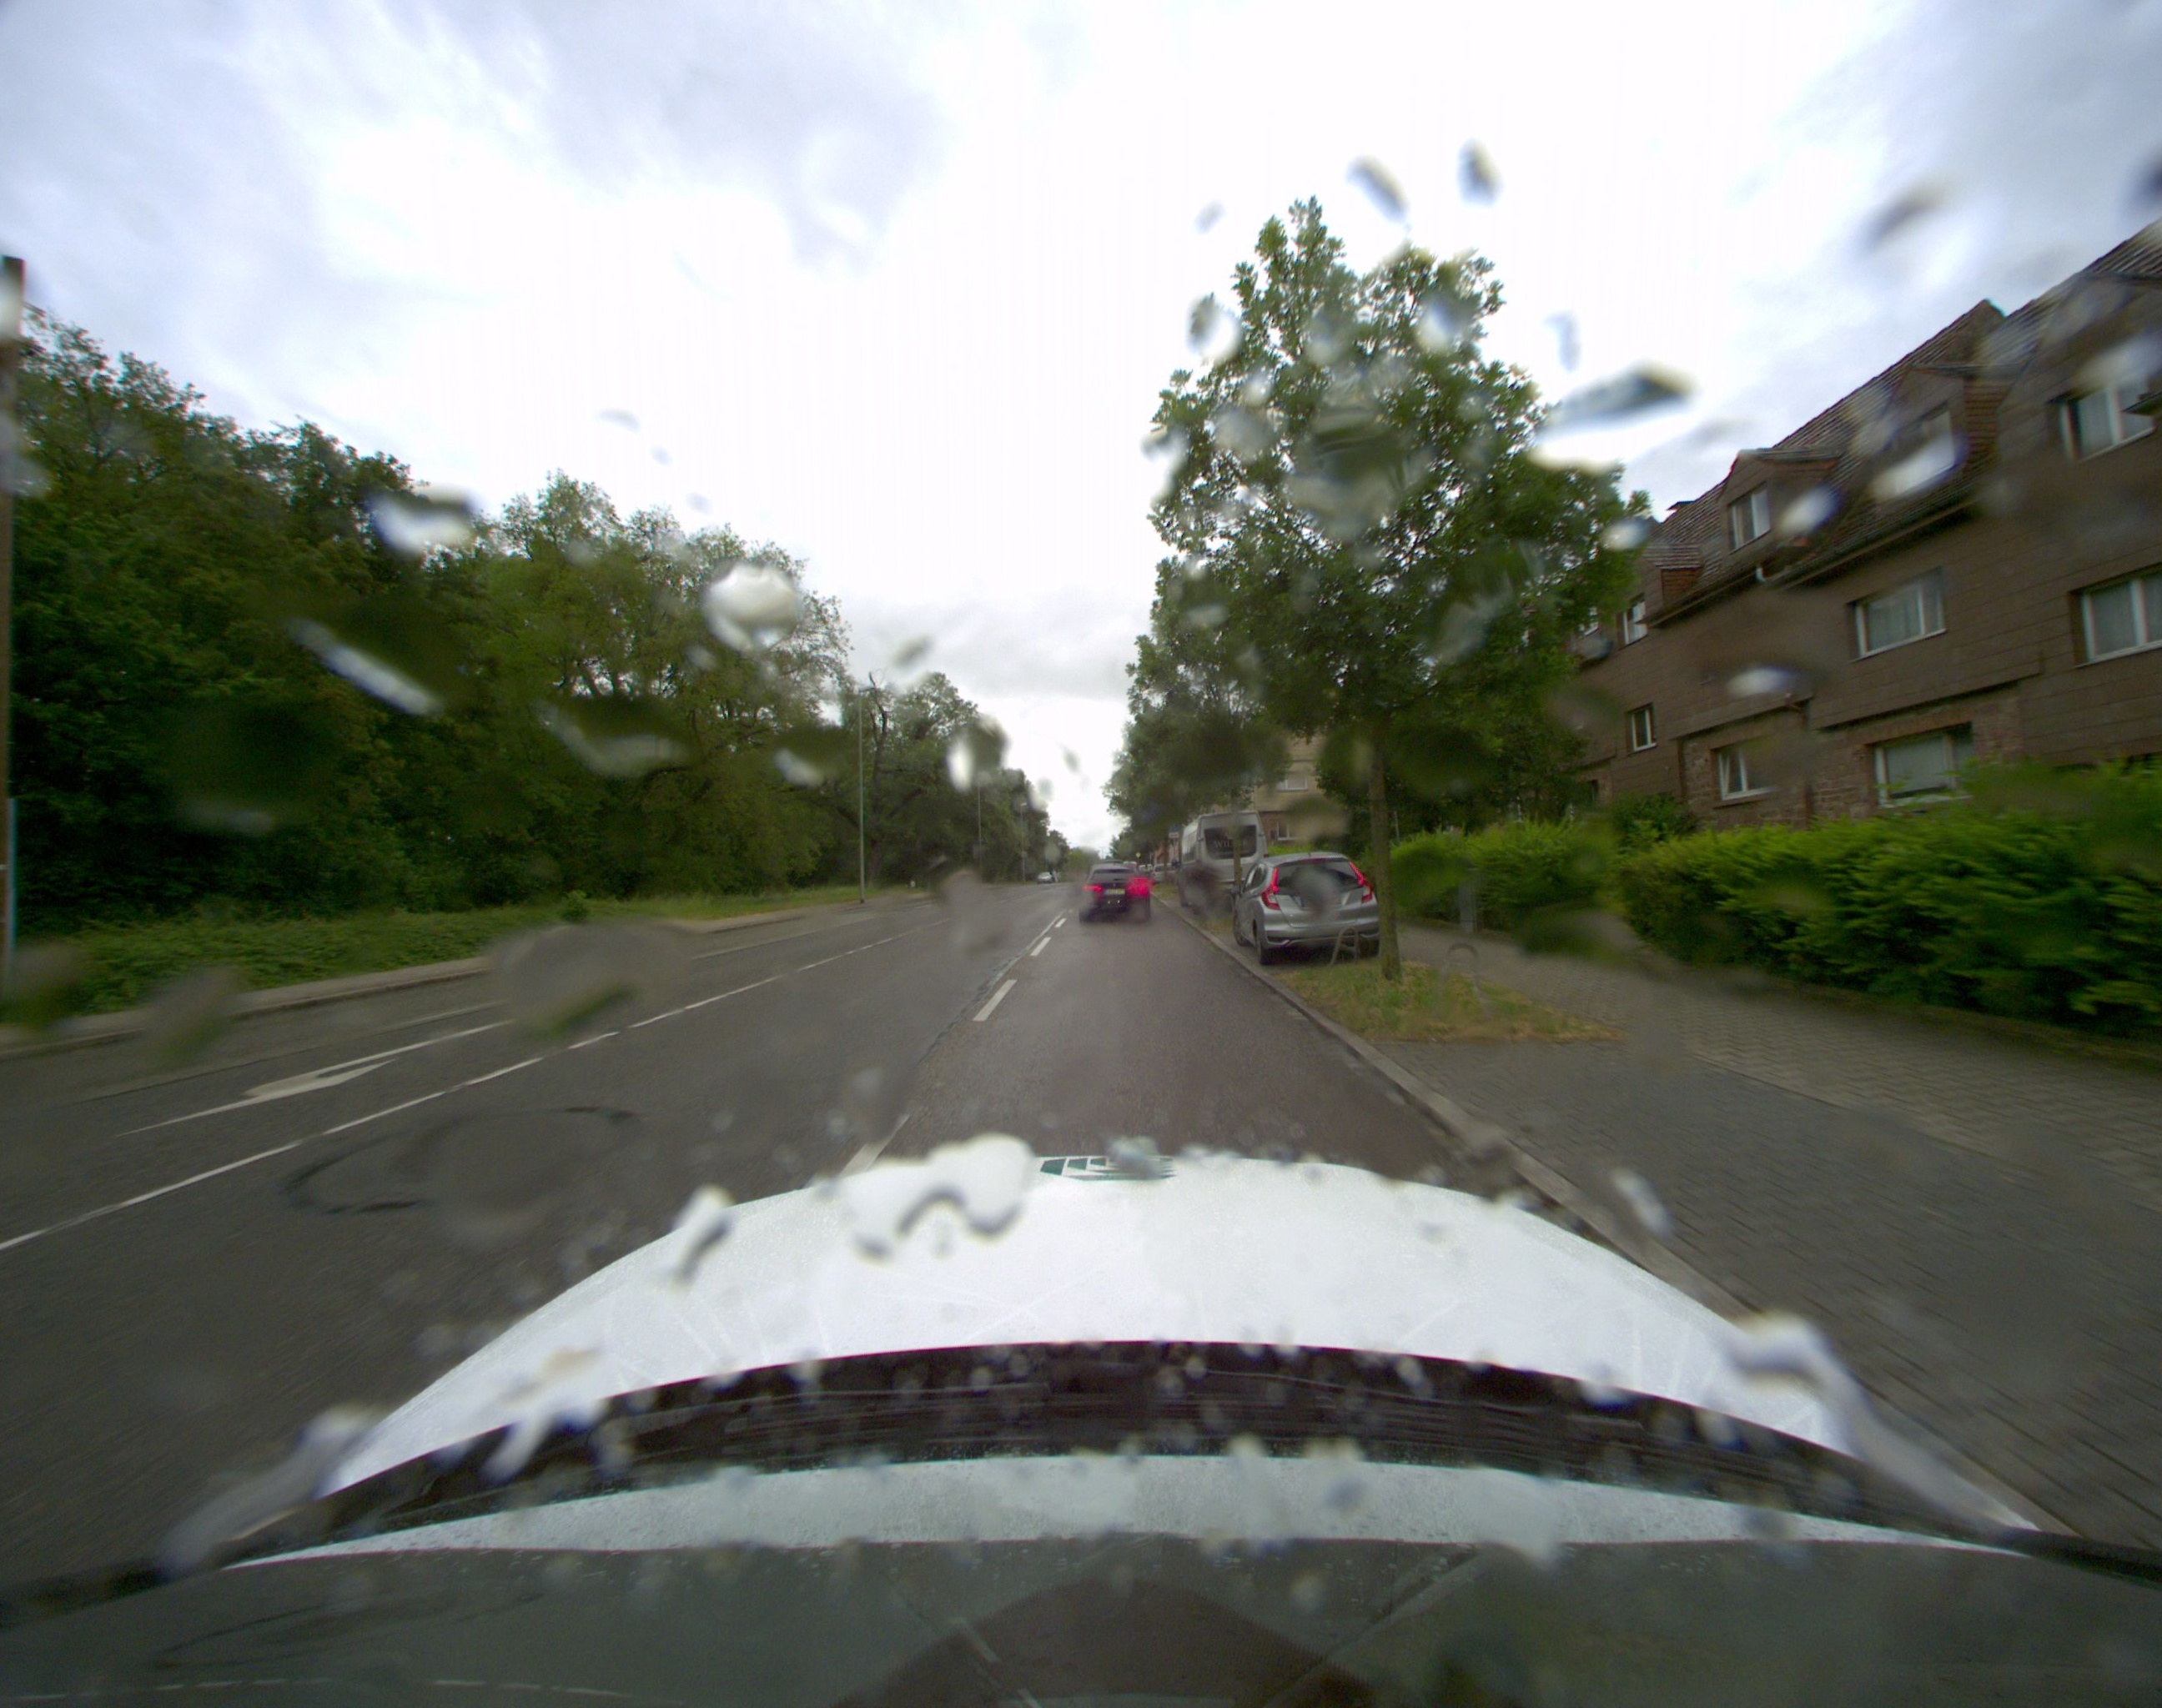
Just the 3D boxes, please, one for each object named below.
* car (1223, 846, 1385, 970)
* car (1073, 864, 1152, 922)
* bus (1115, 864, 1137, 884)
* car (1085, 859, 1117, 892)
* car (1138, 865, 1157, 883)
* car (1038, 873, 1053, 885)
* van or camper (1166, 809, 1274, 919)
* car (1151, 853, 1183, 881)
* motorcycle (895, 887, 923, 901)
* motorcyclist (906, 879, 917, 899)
[{"bbox_3d":[3.298,0.751,12.779,1.661,1.528,3.836,-5,-1,5],"label":"car"},{"bbox_3d":[0.864,1.033,22.714,1.986,1.453,4.001,1,-1,2],"label":"car"},{"bbox_3d":[7.074,3.042,126.330,2.608,2.848,8.306,-3,-1,8],"label":"bus"},{"bbox_3d":[1.336,1.387,52.875,1.985,2.014,4.002,-2,-2,3],"label":"car"},{"bbox_3d":[6.846,2.065,83.959,1.816,1.772,4.544,-3,-1,3],"label":"car"},{"bbox_3d":[-4.565,3.236,105.085,1.684,1.483,4.451,-4,-2,0],"label":"car"},{"bbox_3d":[3.915,0.293,24.401,2.189,2.651,7.306,-4,-1,3],"label":"van or camper"},{"bbox_3d":[5.457,0.823,52.369,1.694,1.584,4.646,-6,-1,3],"label":"car"},{"bbox_3d":[-14.503,3.368,68.742,2.169,1.118,0.826,-1,-1,8],"label":"motorcycle"},{"bbox_3d":[-14.329,2.954,68.723,0.645,1.681,0.815,-1,-1,8],"label":"motorcyclist"}]
